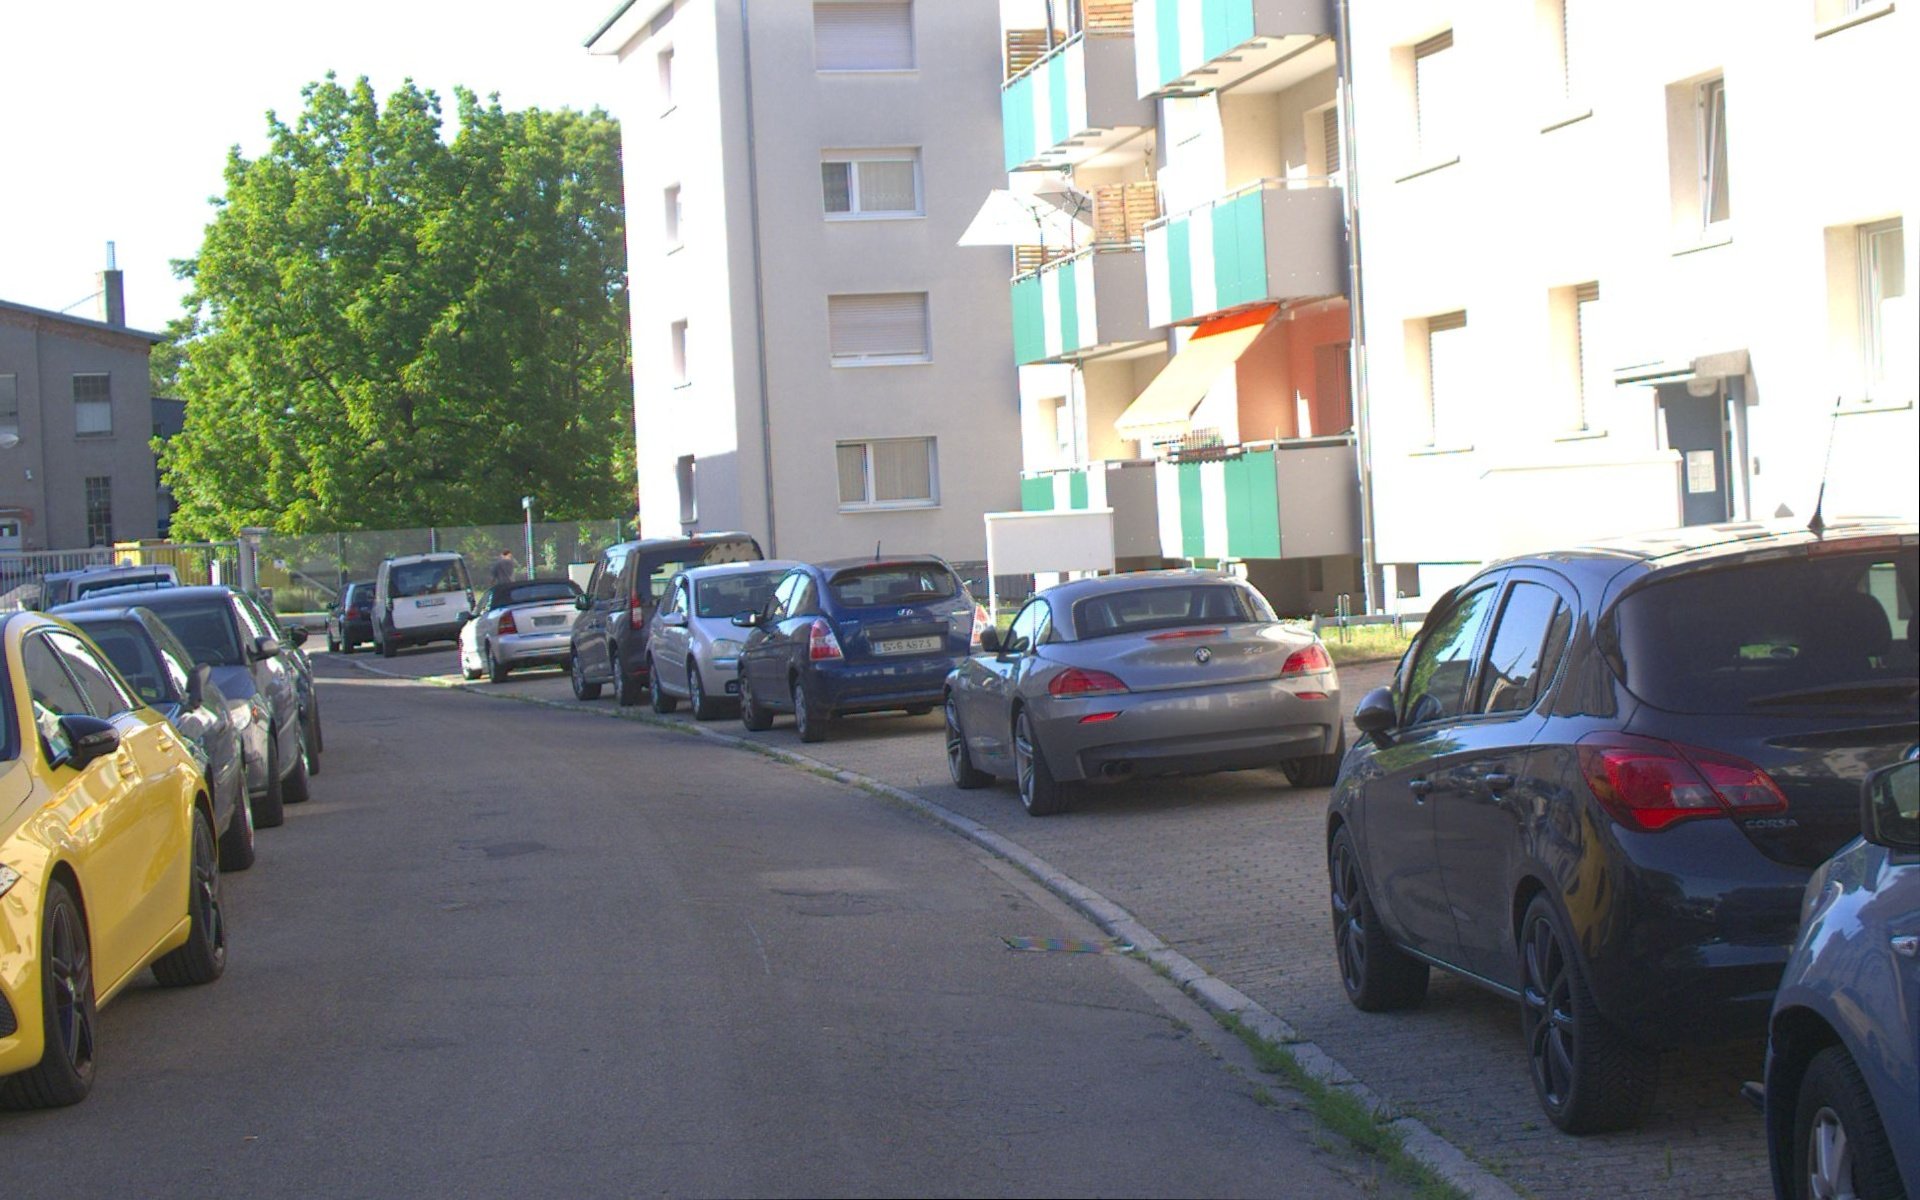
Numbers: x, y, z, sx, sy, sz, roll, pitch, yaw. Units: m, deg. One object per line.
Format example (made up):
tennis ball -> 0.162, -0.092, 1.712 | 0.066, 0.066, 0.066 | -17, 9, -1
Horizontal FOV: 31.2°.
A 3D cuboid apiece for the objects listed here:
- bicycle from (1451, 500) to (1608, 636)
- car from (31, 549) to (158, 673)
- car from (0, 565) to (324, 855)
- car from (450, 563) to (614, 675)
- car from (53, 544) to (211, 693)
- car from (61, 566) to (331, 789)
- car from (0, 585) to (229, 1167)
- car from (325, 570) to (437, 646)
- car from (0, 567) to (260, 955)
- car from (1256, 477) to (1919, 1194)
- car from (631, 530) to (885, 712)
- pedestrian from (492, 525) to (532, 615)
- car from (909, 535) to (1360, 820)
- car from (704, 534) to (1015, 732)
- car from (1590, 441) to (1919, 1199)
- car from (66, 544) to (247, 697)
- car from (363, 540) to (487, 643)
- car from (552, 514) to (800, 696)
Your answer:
bicycle -> 4.948, -0.294, 29.968 | 0.649, 1.064, 1.734 | -8, 4, -11
car -> -15.762, 0.178, 62.464 | 1.993, 2.006, 4.455 | -5, 1, -15
car -> -4.910, 0.611, 21.523 | 1.478, 1.472, 3.632 | -7, 2, -7
car -> -6.191, 0.239, 49.392 | 1.717, 1.359, 4.056 | -5, 2, -14
car -> -11.443, 0.251, 47.361 | 1.896, 1.849, 4.196 | -4, 1, -15
car -> -5.893, 0.528, 26.953 | 1.743, 1.426, 4.600 | -6, 2, -10
car -> -3.466, 0.760, 10.808 | 1.693, 1.384, 4.158 | -4, 2, -5
car -> -11.825, 0.152, 70.080 | 1.765, 1.357, 4.095 | -5, 1, -15
car -> -4.260, 0.670, 16.141 | 1.568, 1.459, 4.263 | -5, 2, -8
car -> 2.111, 0.478, 9.844 | 1.735, 1.503, 3.886 | -6, 2, -5
car -> -2.074, 0.171, 34.187 | 1.681, 1.582, 4.014 | -4, 2, -14
pedestrian -> -9.335, -0.623, 71.595 | 0.654, 1.809, 0.614 | -5, 1, -5
car -> 0.910, 0.370, 20.445 | 1.685, 1.358, 4.241 | -6, 2, -9
car -> -0.953, 0.244, 29.629 | 1.737, 1.427, 4.357 | -5, 2, -13
car -> 2.335, 0.522, 4.789 | 1.765, 1.630, 4.042 | -4, 1, -5
car -> -8.797, 0.205, 37.455 | 1.658, 1.438, 3.872 | -5, 1, -15
car -> -10.135, -0.169, 64.926 | 1.765, 1.733, 4.095 | -5, 1, -15
car -> -3.305, 0.057, 39.213 | 1.896, 1.849, 4.345 | -4, 1, -16
